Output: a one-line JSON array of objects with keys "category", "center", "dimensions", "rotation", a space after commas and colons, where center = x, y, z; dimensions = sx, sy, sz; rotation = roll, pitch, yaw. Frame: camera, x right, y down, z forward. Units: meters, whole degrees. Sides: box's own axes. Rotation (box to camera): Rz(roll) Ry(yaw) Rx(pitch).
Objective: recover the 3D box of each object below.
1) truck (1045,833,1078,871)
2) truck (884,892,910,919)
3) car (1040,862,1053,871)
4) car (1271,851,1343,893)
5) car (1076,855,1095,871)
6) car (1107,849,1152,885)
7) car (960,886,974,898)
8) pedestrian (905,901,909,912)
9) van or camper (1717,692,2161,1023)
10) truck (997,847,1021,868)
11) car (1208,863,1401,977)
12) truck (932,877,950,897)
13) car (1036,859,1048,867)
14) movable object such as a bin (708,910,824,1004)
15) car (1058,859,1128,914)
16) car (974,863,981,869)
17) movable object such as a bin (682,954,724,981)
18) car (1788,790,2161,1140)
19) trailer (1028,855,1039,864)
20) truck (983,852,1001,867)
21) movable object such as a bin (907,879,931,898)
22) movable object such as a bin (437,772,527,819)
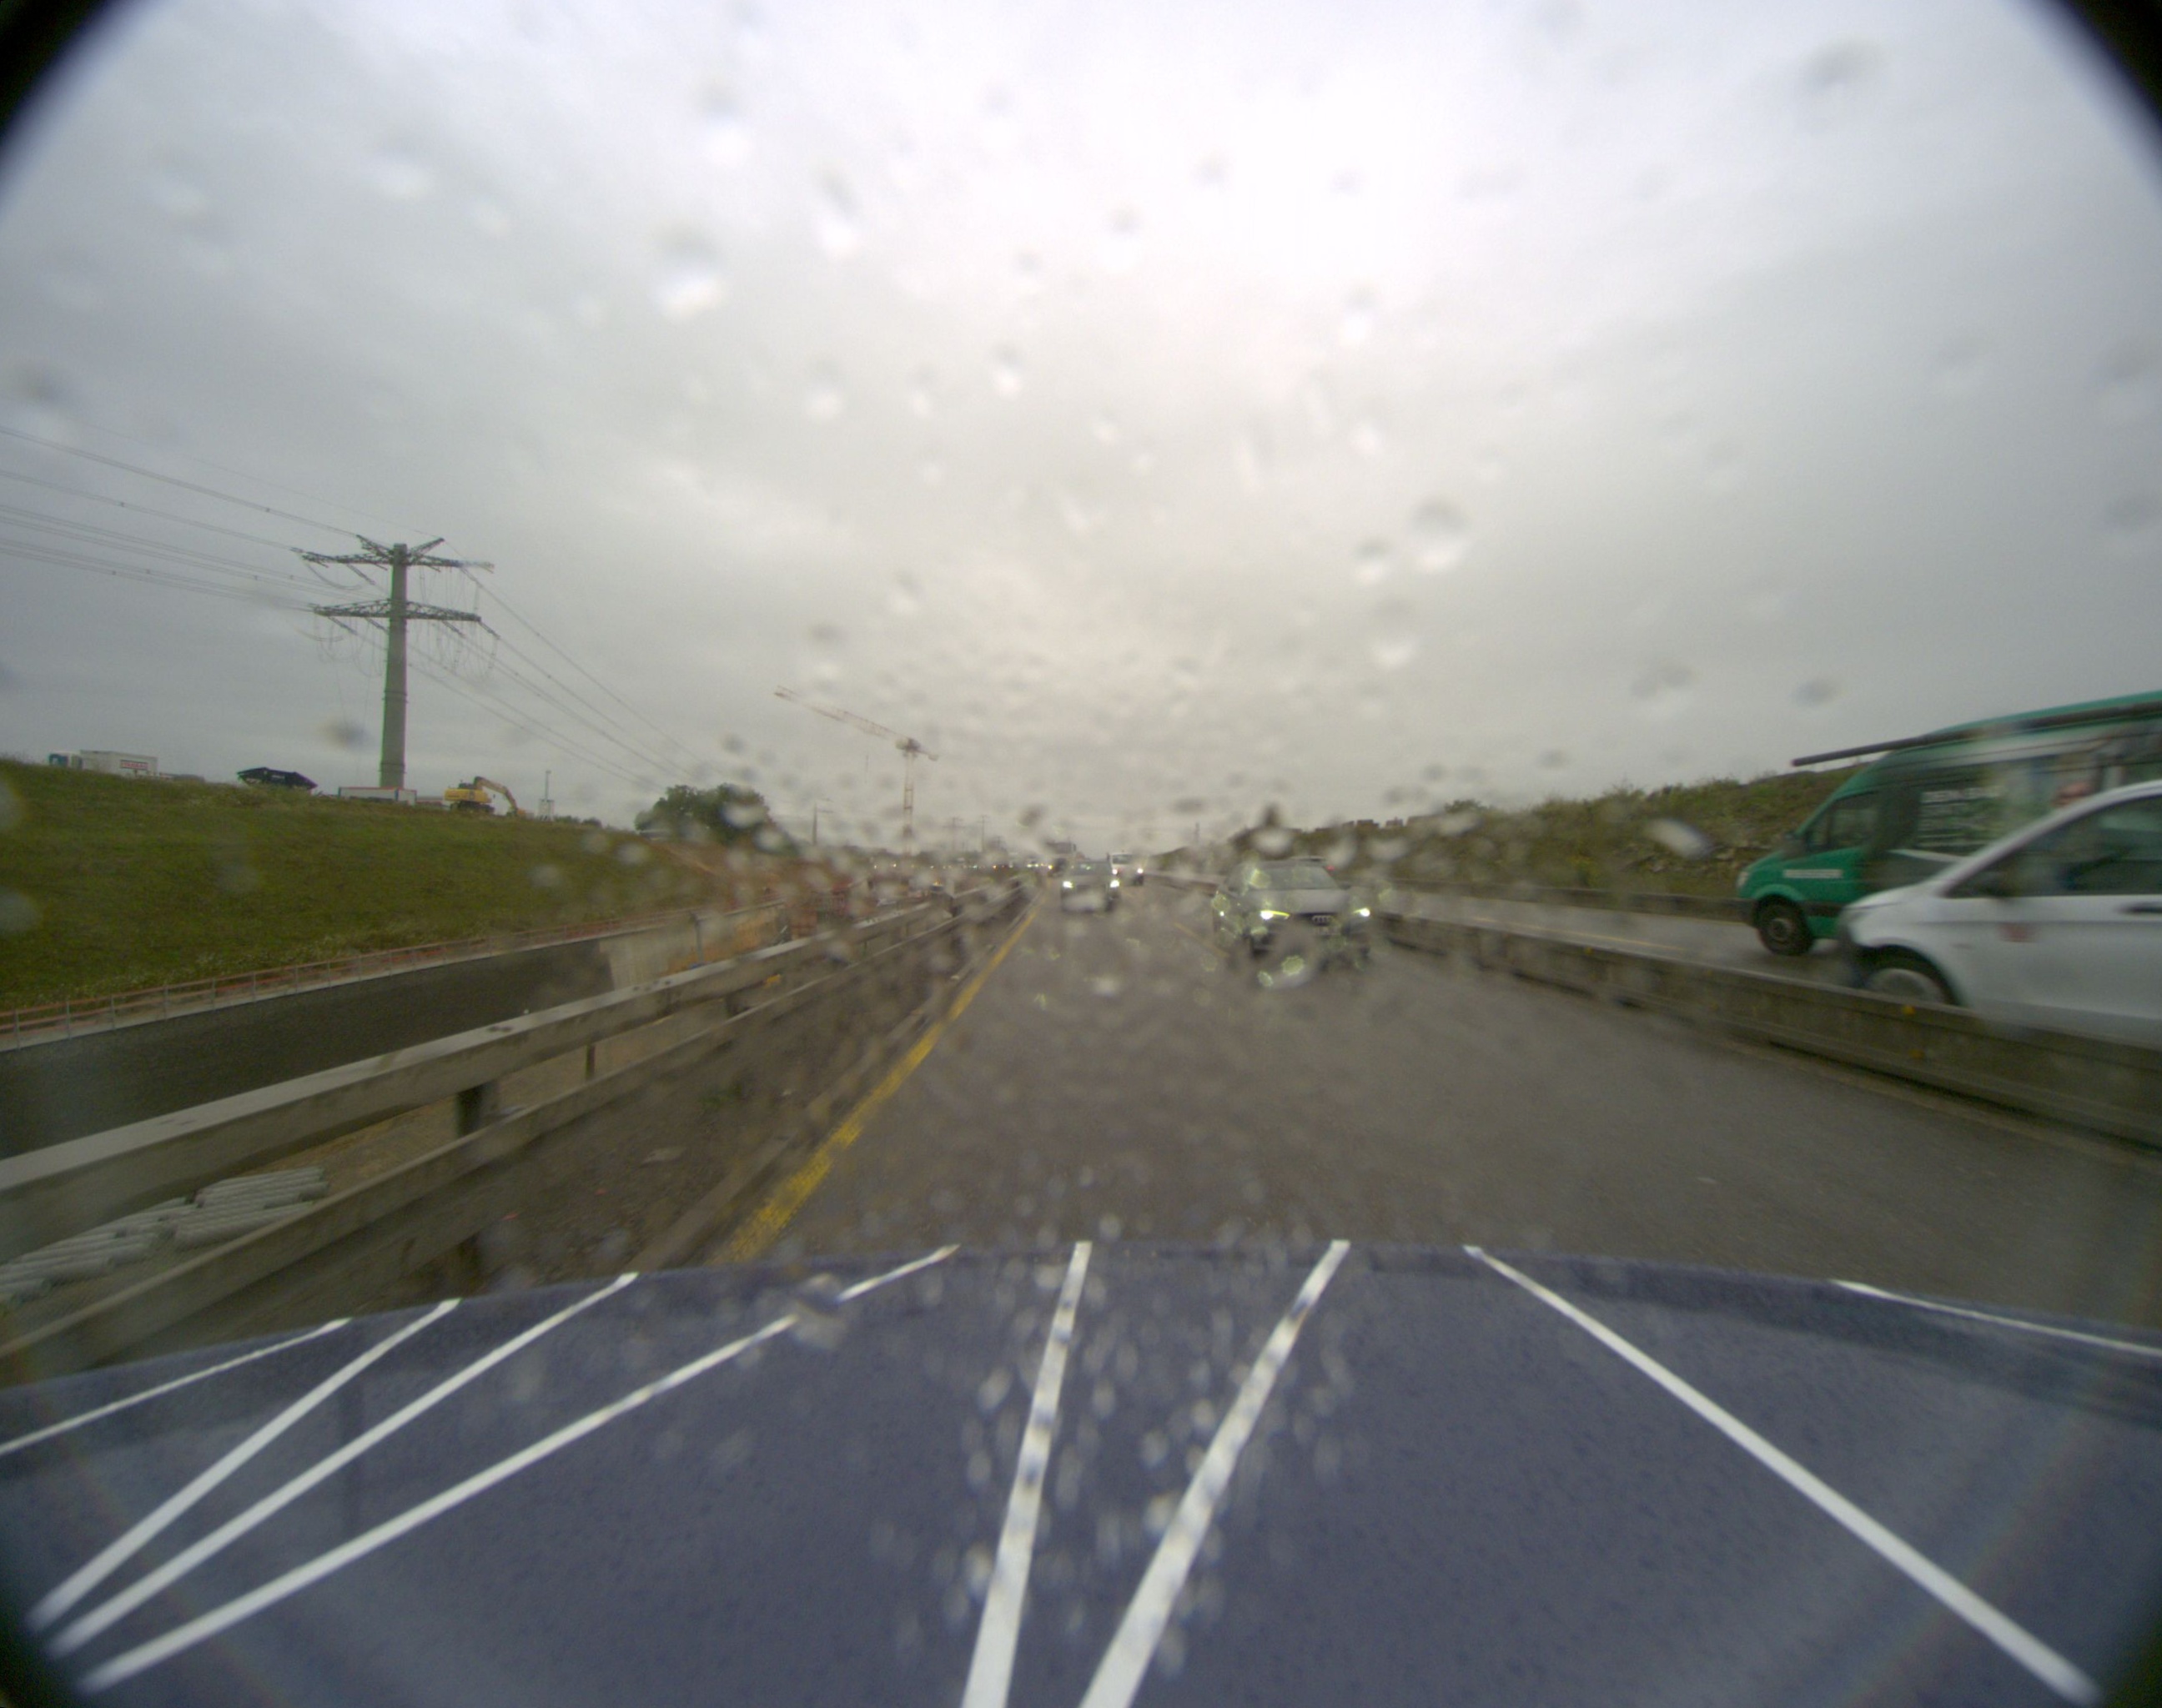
[{"category": "truck", "center": [-1.972, -0.230, 74.799], "dimensions": [2.857, 3.462, 8.640], "rotation": [-2, 1, -3]}, {"category": "truck", "center": [-29.495, 8.229, 122.085], "dimensions": [2.711, 3.591, 9.067], "rotation": [0, 1, -6]}, {"category": "car", "center": [-6.166, 2.193, 136.743], "dimensions": [1.791, 1.418, 3.997], "rotation": [-3, 0, -9]}, {"category": "car", "center": [9.107, 0.684, 30.905], "dimensions": [1.718, 1.527, 4.046], "rotation": [-3, 0, 1]}, {"category": "car", "center": [0.488, 0.995, 88.526], "dimensions": [1.790, 1.744, 3.998], "rotation": [-3, 0, -5]}, {"category": "car", "center": [2.732, 0.701, 44.079], "dimensions": [2.070, 1.933, 5.155], "rotation": [-2, 1, -2]}, {"category": "car", "center": [-23.849, 7.990, 159.479], "dimensions": [1.999, 2.002, 3.999], "rotation": [-15, 0, -2]}, {"category": "pedestrian", "center": [-31.387, 9.463, 136.924], "dimensions": [0.603, 1.894, 0.614], "rotation": [0, 1, -9]}, {"category": "van or camper", "center": [10.214, -0.015, 7.985], "dimensions": [2.105, 2.801, 5.943], "rotation": [-3, 0, 1]}, {"category": "truck", "center": [-16.086, 0.685, 168.827], "dimensions": [4.321, 4.319, 13.396], "rotation": [-3, 0, -9]}, {"category": "car", "center": [3.295, 0.891, 12.053], "dimensions": [1.805, 1.375, 4.087], "rotation": [-2, 0, 0]}, {"category": "truck", "center": [-29.960, 7.018, 162.657], "dimensions": [3.363, 3.521, 8.897], "rotation": [-1, 2, -8]}, {"category": "car", "center": [-7.977, 1.830, 154.806], "dimensions": [1.791, 1.646, 3.996], "rotation": [-3, 0, -11]}, {"category": "movable object such as a bin", "center": [-26.647, 8.544, 65.509], "dimensions": [4.907, 5.639, 12.082], "rotation": [-4, 3, -2]}, {"category": "car", "center": [0.277, 0.913, 23.513], "dimensions": [1.875, 1.481, 4.260], "rotation": [-2, 0, -3]}, {"category": "car", "center": [-30.949, 3.570, 226.829], "dimensions": [1.791, 1.418, 3.997], "rotation": [-3, 0, -9]}, {"category": "movable object such as a bin", "center": [-35.595, 10.665, 71.651], "dimensions": [2.524, 1.900, 3.254], "rotation": [-4, 1, -8]}, {"category": "car", "center": [6.759, 0.554, 3.546], "dimensions": [2.005, 1.876, 5.274], "rotation": [-3, 0, 1]}, {"category": "trailer", "center": [-13.085, 1.518, 210.761], "dimensions": [2.518, 2.549, 7.158], "rotation": [-2, 0, -7]}, {"category": "truck", "center": [-24.959, 1.508, 212.654], "dimensions": [3.549, 3.871, 8.325], "rotation": [-3, 0, -14]}, {"category": "movable object such as a bin", "center": [-33.053, 6.949, 155.289], "dimensions": [3.517, 3.405, 6.651], "rotation": [-2, 1, 0]}, {"category": "movable object such as a bin", "center": [-62.923, -6.062, 80.101], "dimensions": [3.107, 4.181, 8.177], "rotation": [-1, 0, -1]}]
